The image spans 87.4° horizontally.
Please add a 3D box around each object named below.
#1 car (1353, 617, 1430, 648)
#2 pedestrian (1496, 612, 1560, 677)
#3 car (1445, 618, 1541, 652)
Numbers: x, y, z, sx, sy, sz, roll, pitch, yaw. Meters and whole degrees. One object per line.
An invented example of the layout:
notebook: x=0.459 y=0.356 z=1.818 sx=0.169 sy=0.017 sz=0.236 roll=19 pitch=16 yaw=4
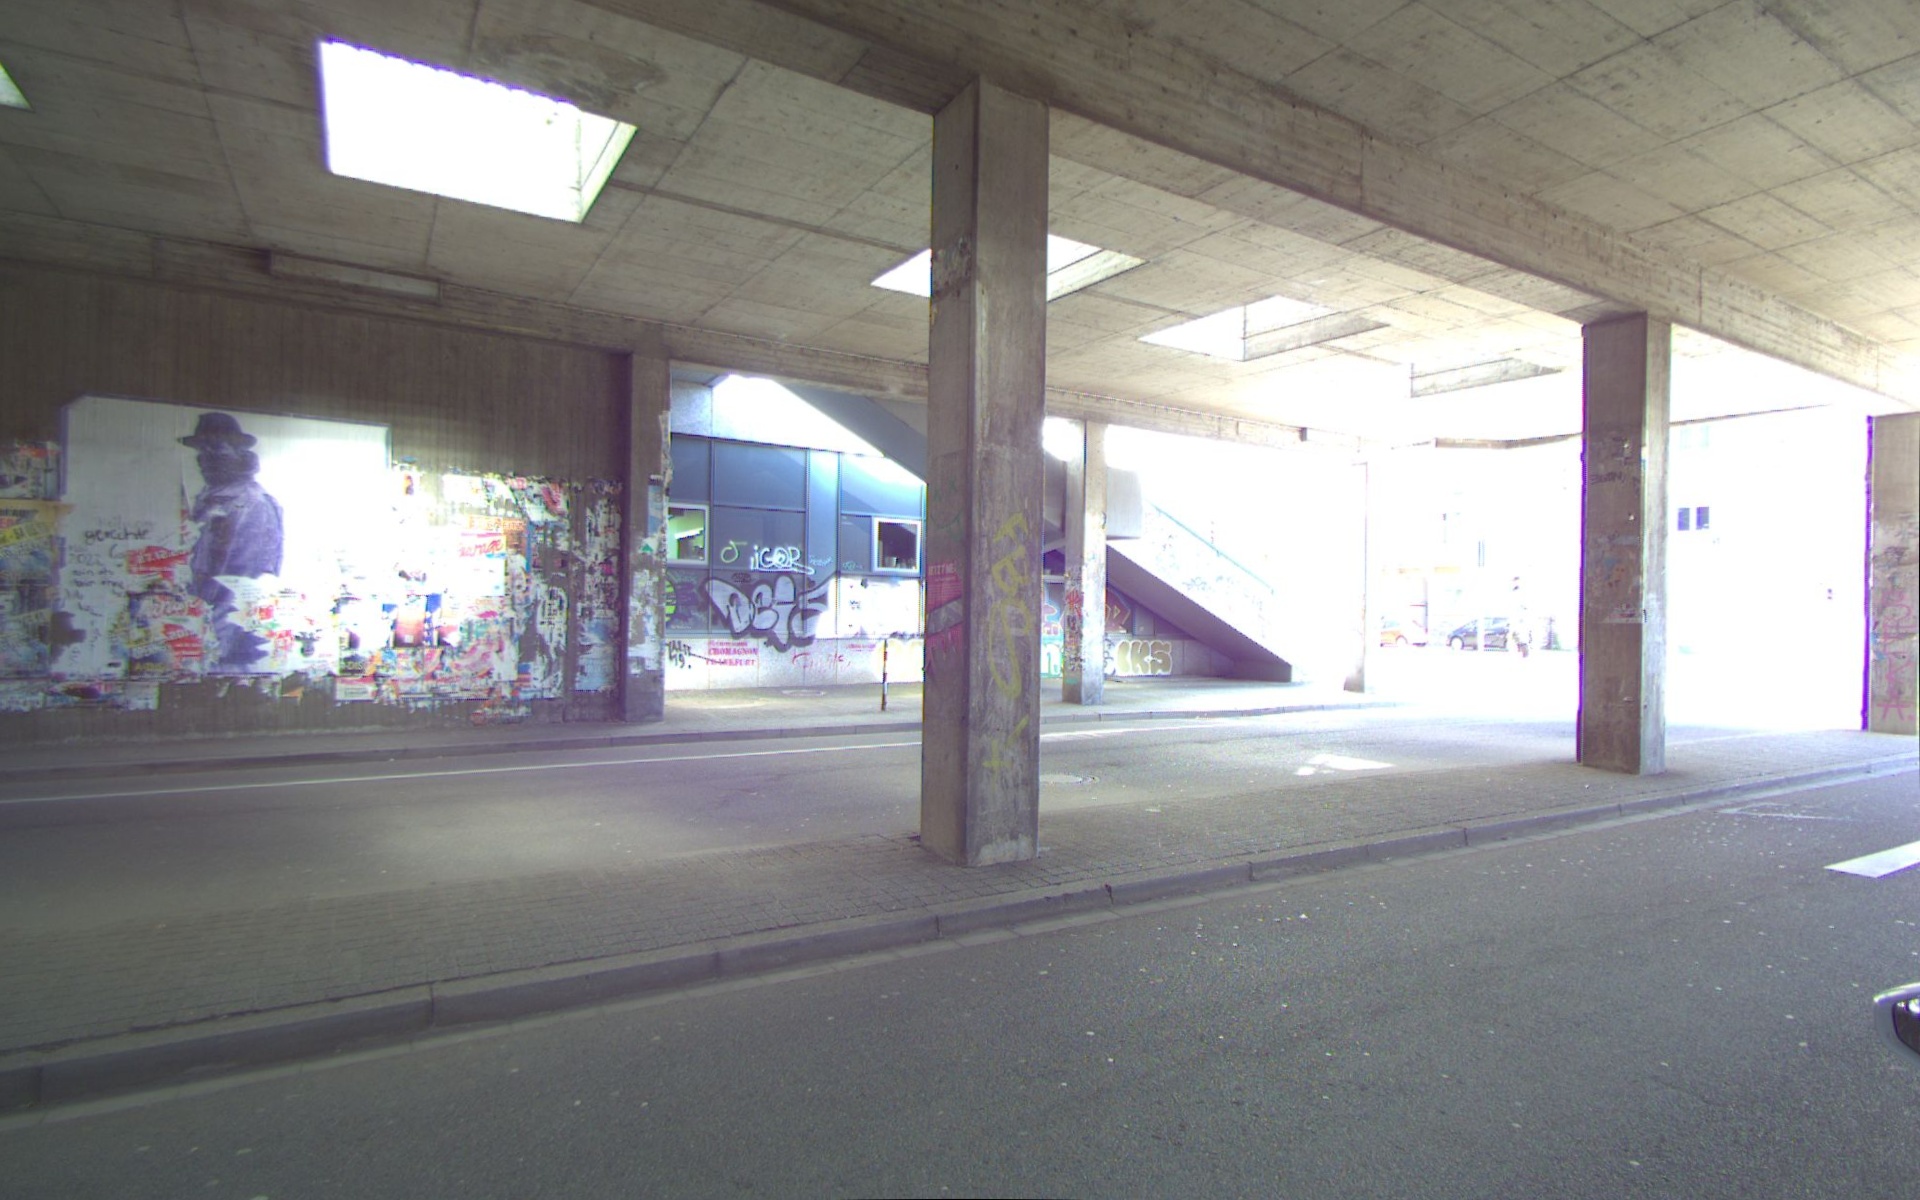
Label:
car: x=22.495 y=1.694 z=52.482 sx=1.543 sy=1.526 sz=3.518 roll=1 pitch=-1 yaw=-29
pedestrian: x=15.960 y=1.235 z=28.243 sx=1.123 sy=1.760 sz=1.111 roll=1 pitch=-1 yaw=-17
car: x=25.337 y=1.650 z=47.840 sx=1.732 sy=1.528 sz=3.735 roll=1 pitch=-1 yaw=-31
